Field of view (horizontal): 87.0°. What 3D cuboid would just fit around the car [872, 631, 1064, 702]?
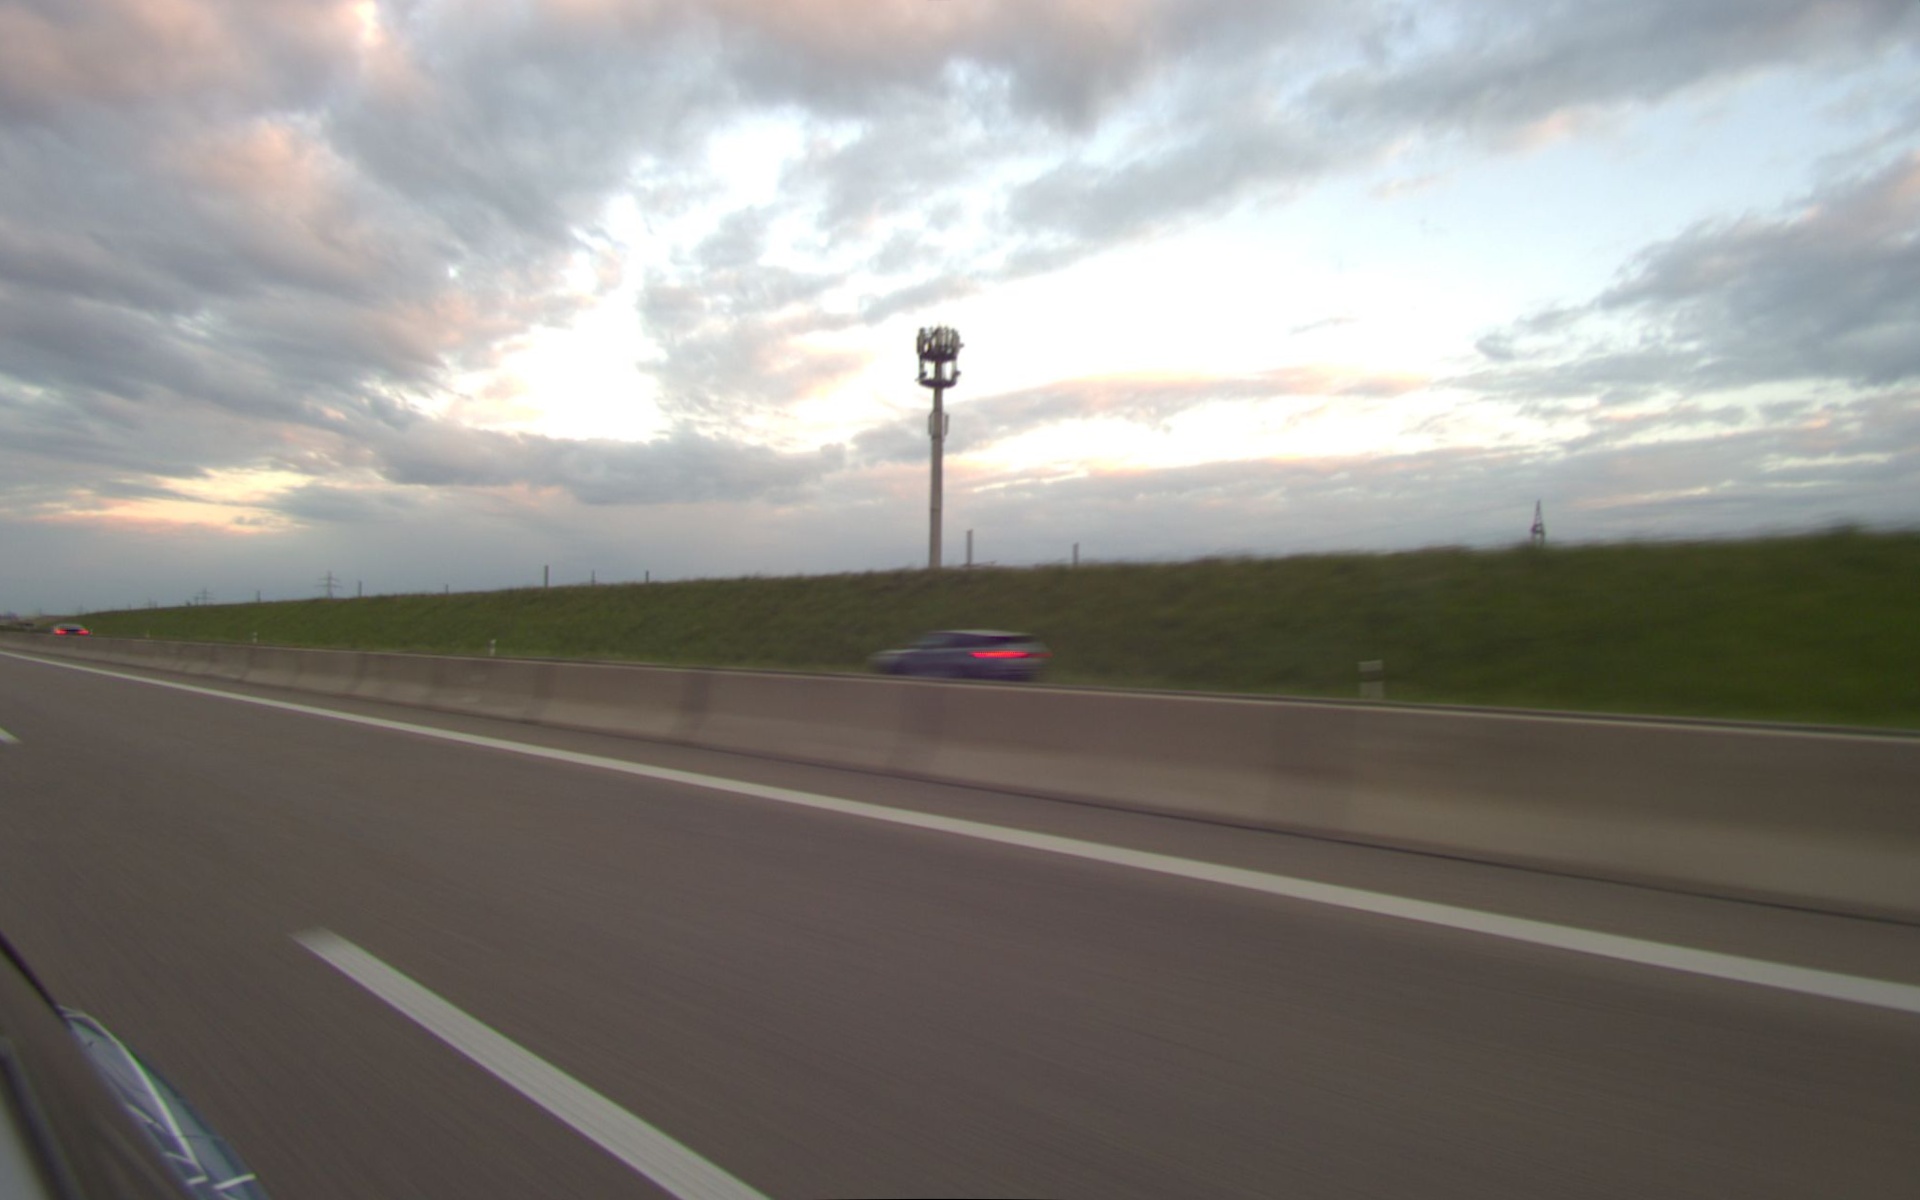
[{"bbox_3d":[0.122,1.540,24.592,4.578,1.565,1.842,-1,-3,41],"label":"car"}]
